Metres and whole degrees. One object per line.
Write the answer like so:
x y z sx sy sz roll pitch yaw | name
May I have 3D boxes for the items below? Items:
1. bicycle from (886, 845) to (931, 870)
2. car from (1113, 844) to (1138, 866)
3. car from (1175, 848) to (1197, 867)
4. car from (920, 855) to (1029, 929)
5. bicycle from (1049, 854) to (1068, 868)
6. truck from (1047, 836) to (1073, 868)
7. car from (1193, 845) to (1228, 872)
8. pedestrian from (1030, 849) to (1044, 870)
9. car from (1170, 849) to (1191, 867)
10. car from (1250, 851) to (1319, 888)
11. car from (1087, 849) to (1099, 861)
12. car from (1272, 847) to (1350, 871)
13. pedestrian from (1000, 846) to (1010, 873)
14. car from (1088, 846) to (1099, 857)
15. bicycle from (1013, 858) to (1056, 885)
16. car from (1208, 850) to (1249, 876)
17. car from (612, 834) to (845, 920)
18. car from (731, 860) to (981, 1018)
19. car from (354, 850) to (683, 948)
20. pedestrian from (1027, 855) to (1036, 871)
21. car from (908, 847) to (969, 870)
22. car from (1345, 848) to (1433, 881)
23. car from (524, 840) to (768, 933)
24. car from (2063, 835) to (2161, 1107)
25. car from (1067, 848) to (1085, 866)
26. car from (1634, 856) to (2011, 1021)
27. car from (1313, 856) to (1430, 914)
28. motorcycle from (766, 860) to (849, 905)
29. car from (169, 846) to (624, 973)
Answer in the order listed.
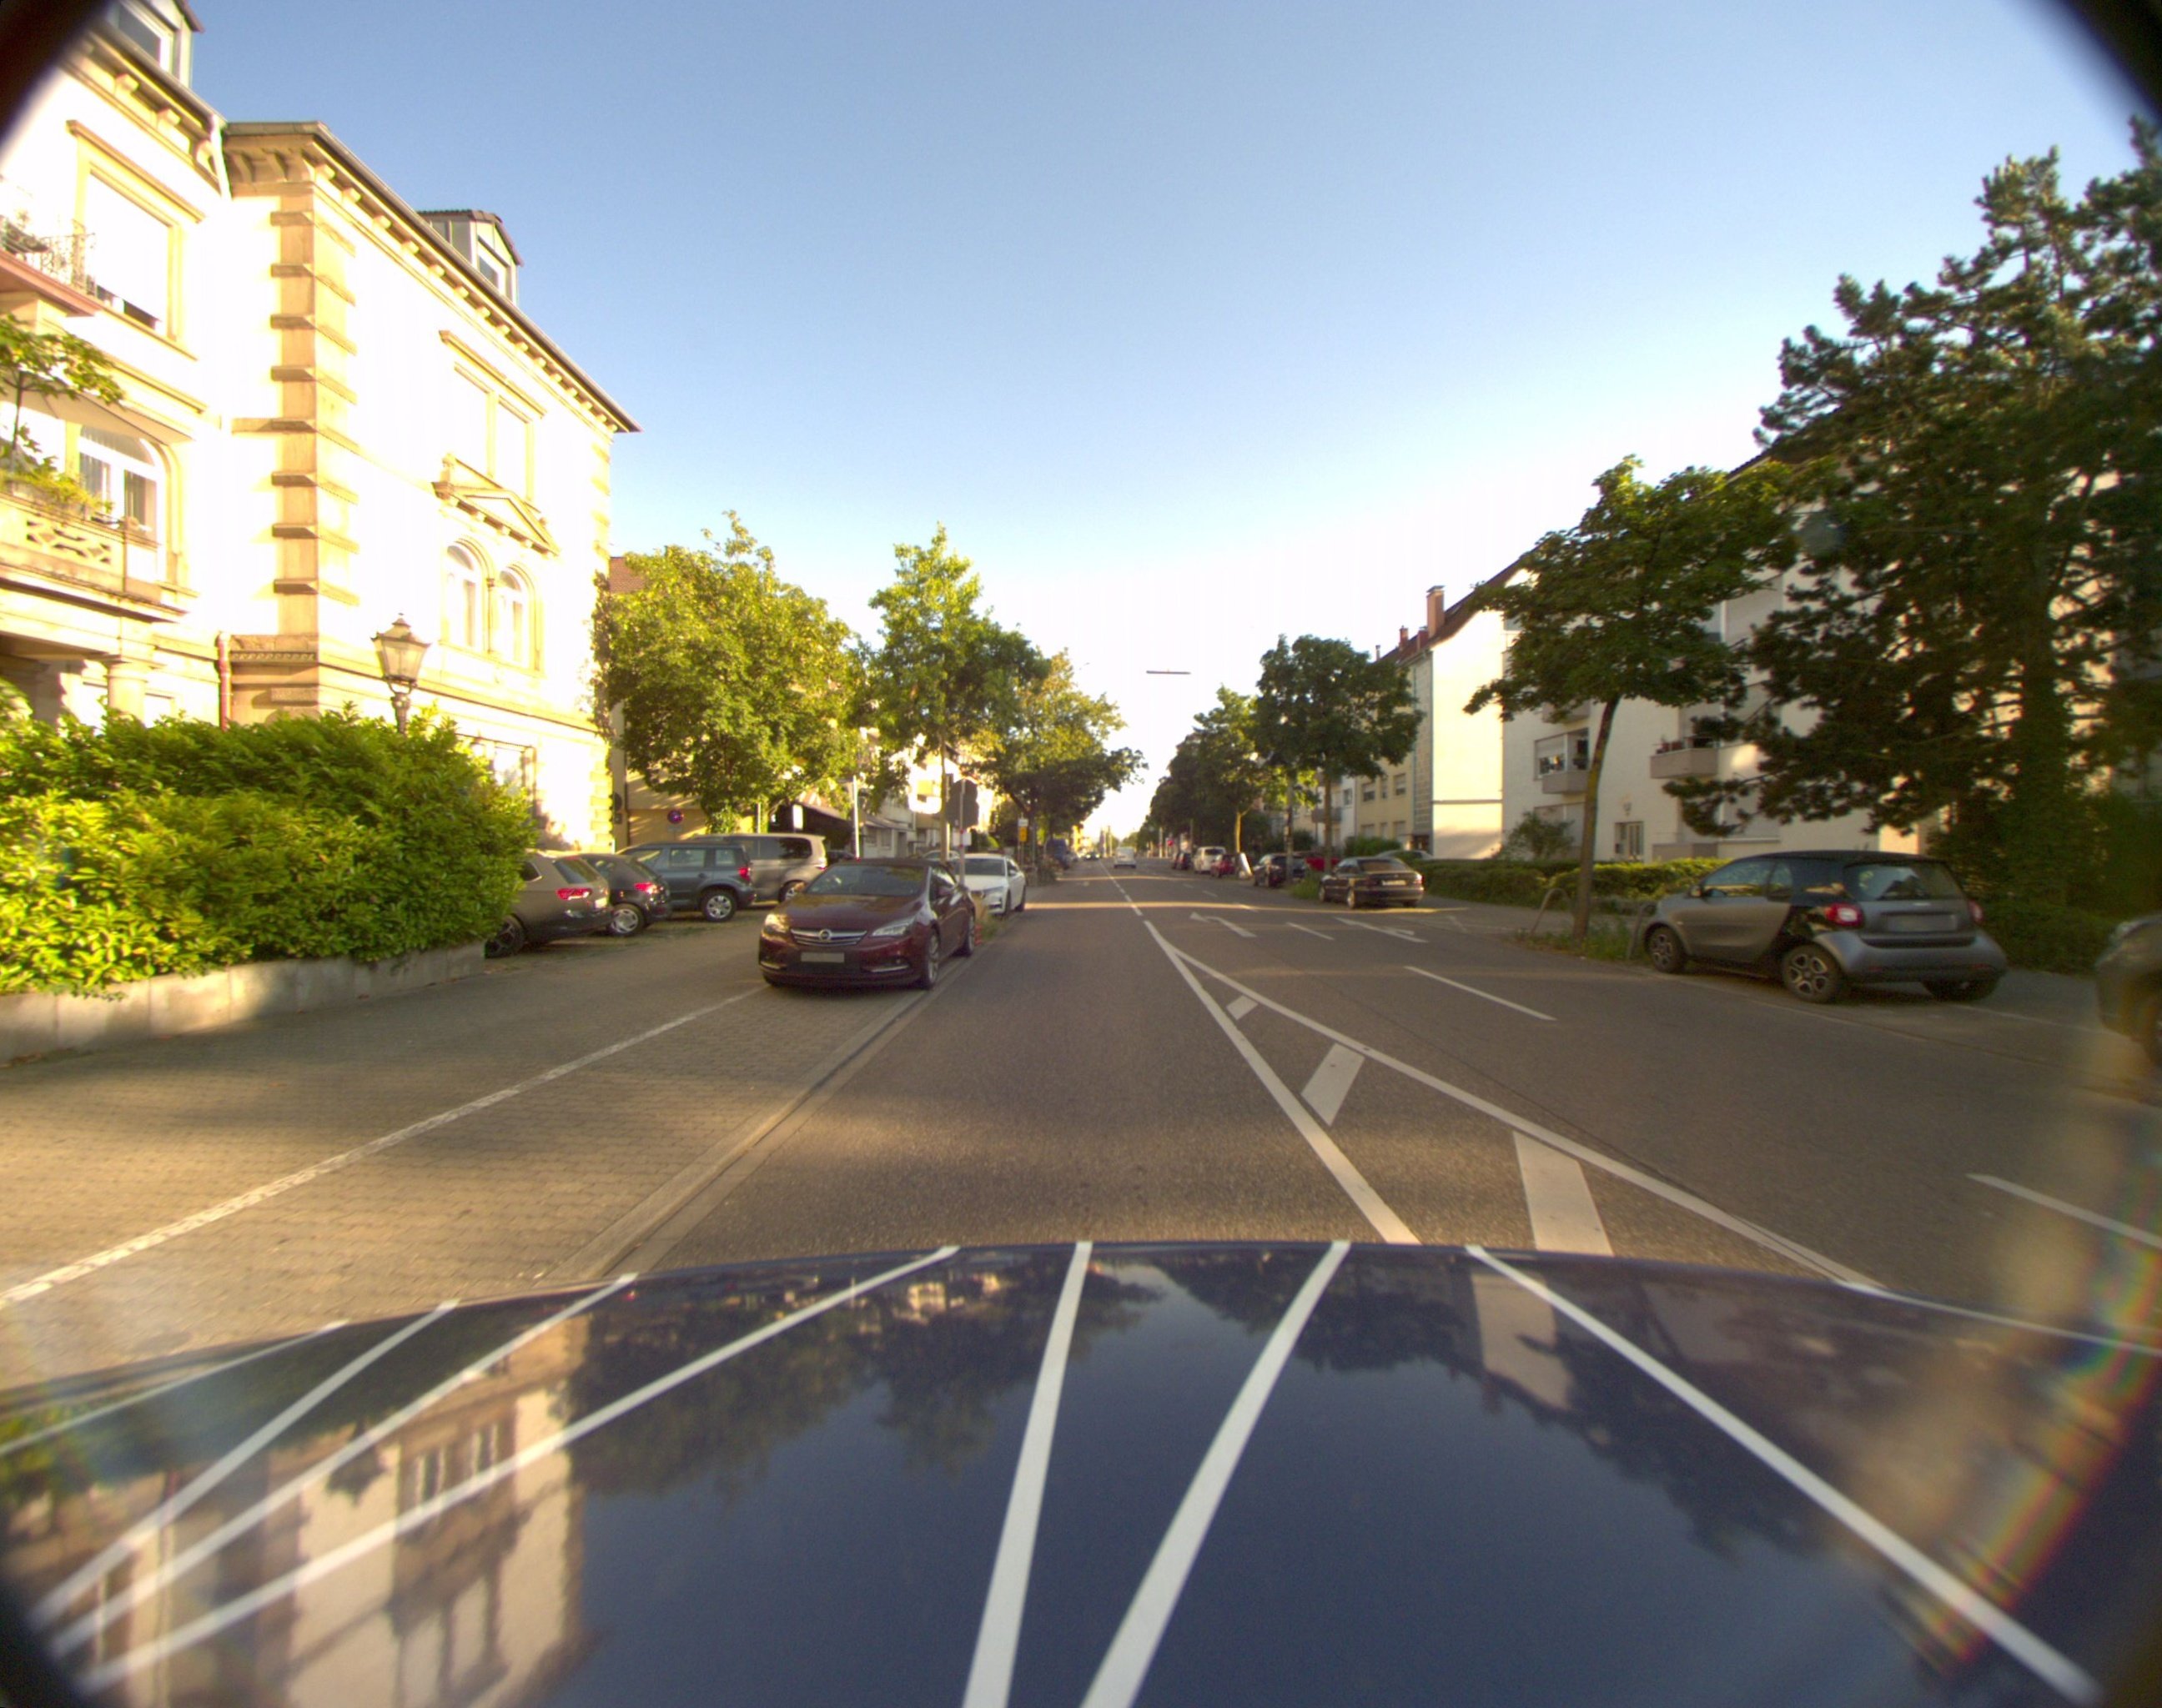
-10.270 0.194 45.333 2.459 1.433 0.928 0 1 -1 | bicycle
3.863 0.036 66.511 1.893 1.793 4.430 2 1 -1 | car
8.648 0.260 62.897 1.407 1.397 3.682 -2 1 2 | car
-2.359 0.787 17.979 1.825 1.469 4.621 0 1 1 | car
-1.811 0.567 60.983 1.469 1.058 0.445 0 1 1 | bicycle
-1.735 -0.202 64.558 1.998 2.629 5.615 0 1 1 | truck
8.789 0.275 51.829 1.740 1.799 4.191 0 1 1 | car
-2.994 0.364 51.640 0.917 1.436 0.811 0 1 -1 | pedestrian
8.749 0.307 67.034 1.407 1.456 3.682 -2 1 2 | car
8.521 0.611 32.142 1.862 1.477 3.999 0 1 0 | car
1.765 0.171 114.762 1.747 1.682 4.000 -2 1 1 | car
15.128 0.329 50.073 4.563 1.397 1.739 -2 1 -9 | car
-5.045 0.388 50.416 0.619 1.761 0.562 0 0 2 | pedestrian
1.899 -0.352 117.573 1.596 1.696 4.000 0 1 1 | car
-2.122 0.790 34.370 1.894 1.155 0.616 2 2 28 | bicycle
8.671 0.505 44.855 1.740 1.455 3.636 0 1 1 | car
-8.545 0.479 18.681 4.946 1.889 1.916 -1 1 -28 | car
-2.513 0.852 9.740 1.761 1.412 4.614 2 1 0 | car
-9.088 0.706 12.724 4.105 1.433 1.713 1 0 -22 | car
-3.472 0.634 52.938 0.553 1.053 0.532 0 1 2 | pedestrian
-9.611 0.295 51.473 3.878 1.496 1.575 0 1 -4 | car
14.486 0.487 35.884 3.467 1.515 1.686 0 1 2 | car
-8.727 0.589 15.556 4.106 1.690 1.783 0 1 -29 | car
7.967 0.774 3.054 1.892 1.769 4.725 0 1 0 | car
-0.463 0.244 76.997 1.704 1.740 4.000 0 1 2 | car
8.100 0.810 8.649 1.577 1.546 2.749 0 1 0 | car
8.024 0.789 21.445 1.641 1.399 4.443 0 1 0 | car
-7.971 0.818 22.251 2.163 1.232 0.789 0 1 -9 | motorcycle
-8.949 0.701 10.424 4.255 1.502 1.789 1 0 -17 | car
